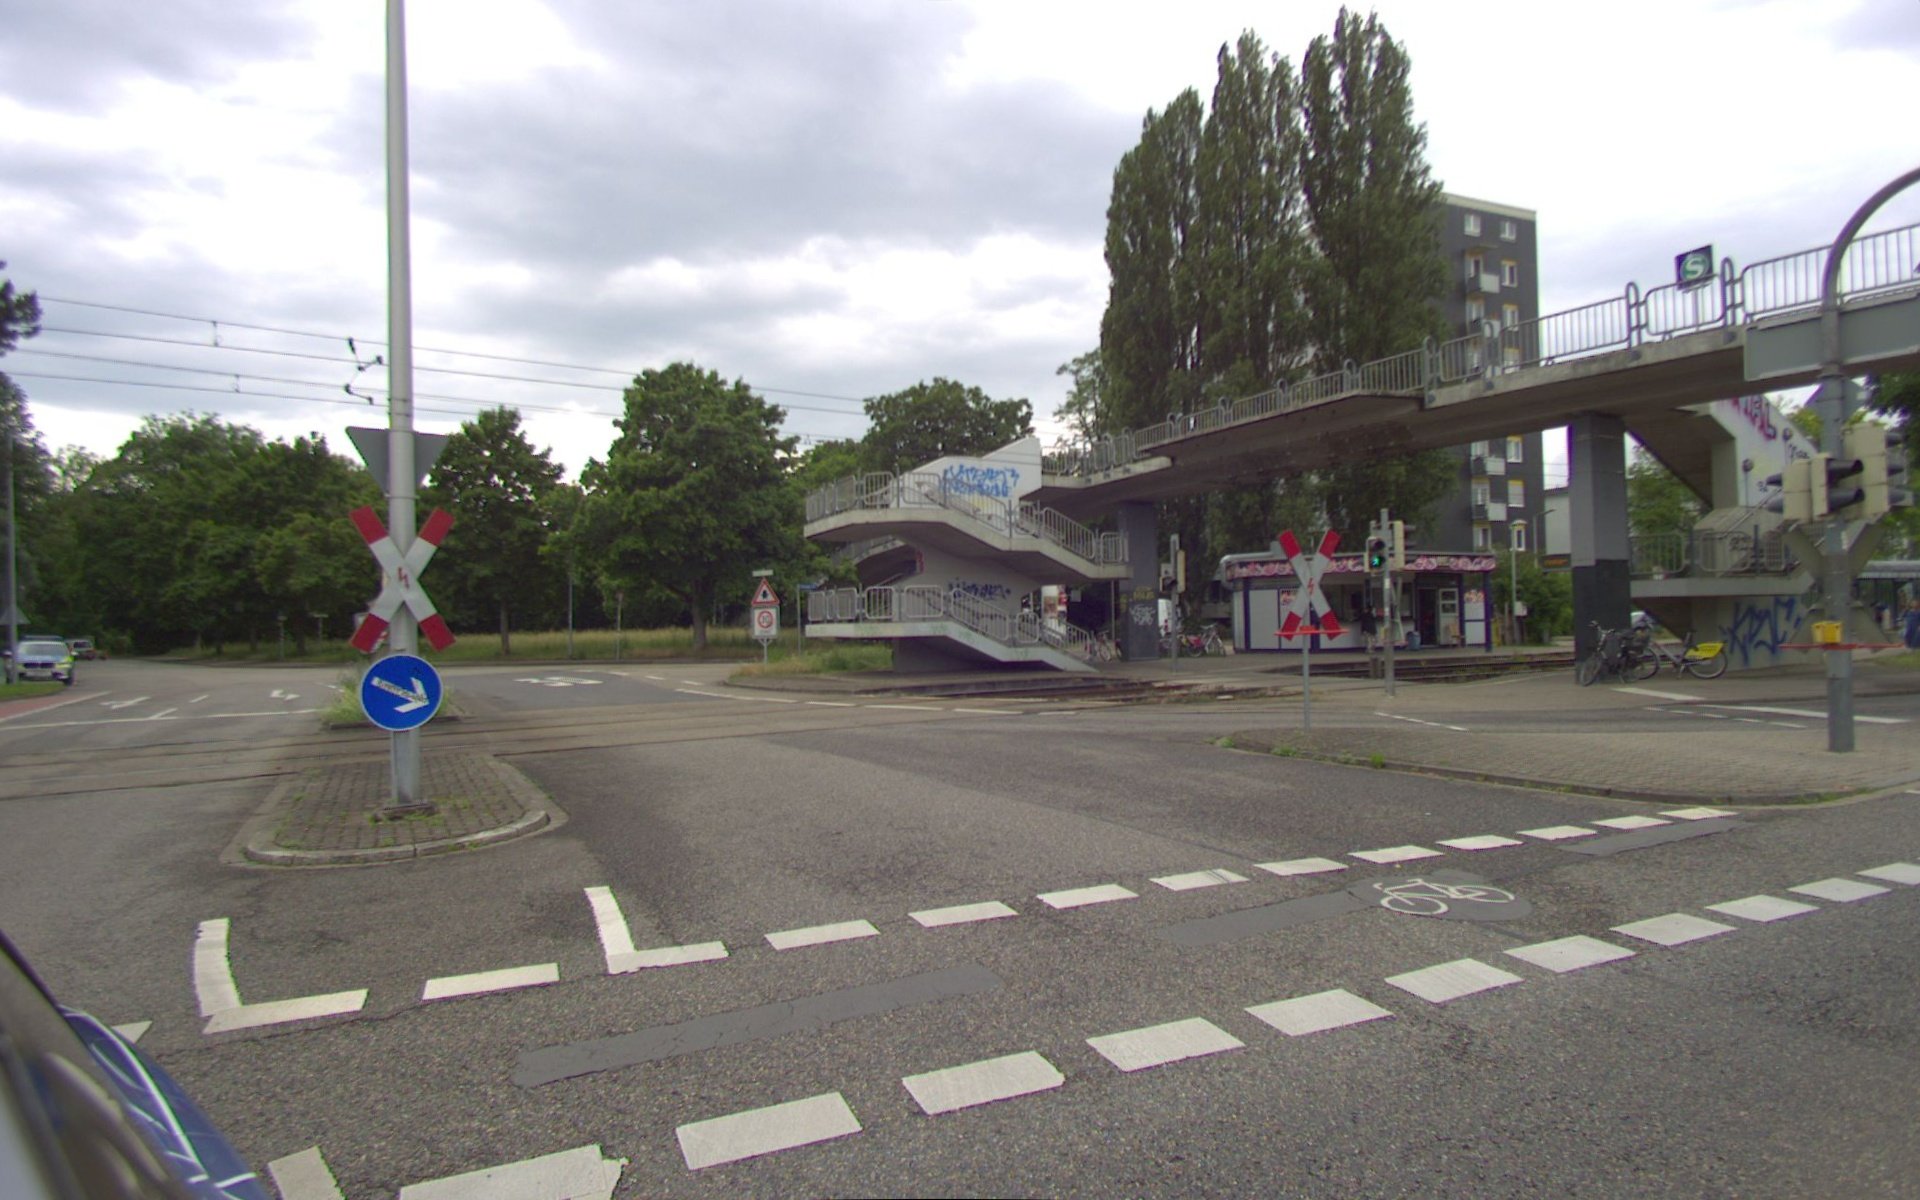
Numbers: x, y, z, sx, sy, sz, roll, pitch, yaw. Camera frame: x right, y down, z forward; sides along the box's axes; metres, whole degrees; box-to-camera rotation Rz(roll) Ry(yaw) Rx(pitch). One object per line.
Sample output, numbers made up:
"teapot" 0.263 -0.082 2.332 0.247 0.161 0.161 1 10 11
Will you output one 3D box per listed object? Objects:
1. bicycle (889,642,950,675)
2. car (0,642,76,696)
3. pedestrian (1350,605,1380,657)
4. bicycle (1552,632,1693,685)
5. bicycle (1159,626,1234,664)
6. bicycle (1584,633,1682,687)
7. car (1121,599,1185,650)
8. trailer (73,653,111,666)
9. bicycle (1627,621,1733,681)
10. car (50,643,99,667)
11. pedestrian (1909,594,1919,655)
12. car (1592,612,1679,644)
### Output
"bicycle" -1.183 1.684 29.279 1.715 0.892 0.395 -1 -2 -8
"car" -33.796 2.475 37.067 1.908 1.864 4.003 3 -4 -44
"pedestrian" 13.383 1.034 33.443 0.674 1.677 0.544 -1 -2 -26
"bicycle" 12.340 1.079 18.868 2.368 0.895 0.559 -1 -2 -8
"bicycle" 7.723 1.457 32.970 2.747 1.123 0.993 0 -3 -43
"bicycle" 12.529 1.096 18.837 2.002 0.928 0.375 -1 -1 -20
"car" 9.484 1.251 49.443 2.126 2.310 5.169 -2 -3 22
"trailer" -72.777 4.978 84.852 3.455 0.993 1.554 -2 -2 34
"bicycle" 13.838 0.983 19.500 1.610 1.103 0.347 -2 -2 33
"car" -76.036 4.723 86.909 4.208 1.871 2.072 -2 -1 32
"pedestrian" 25.102 0.637 26.283 0.329 1.576 0.562 0 -2 -31
"car" 34.602 1.422 51.863 3.931 1.572 1.674 -1 -2 -21
